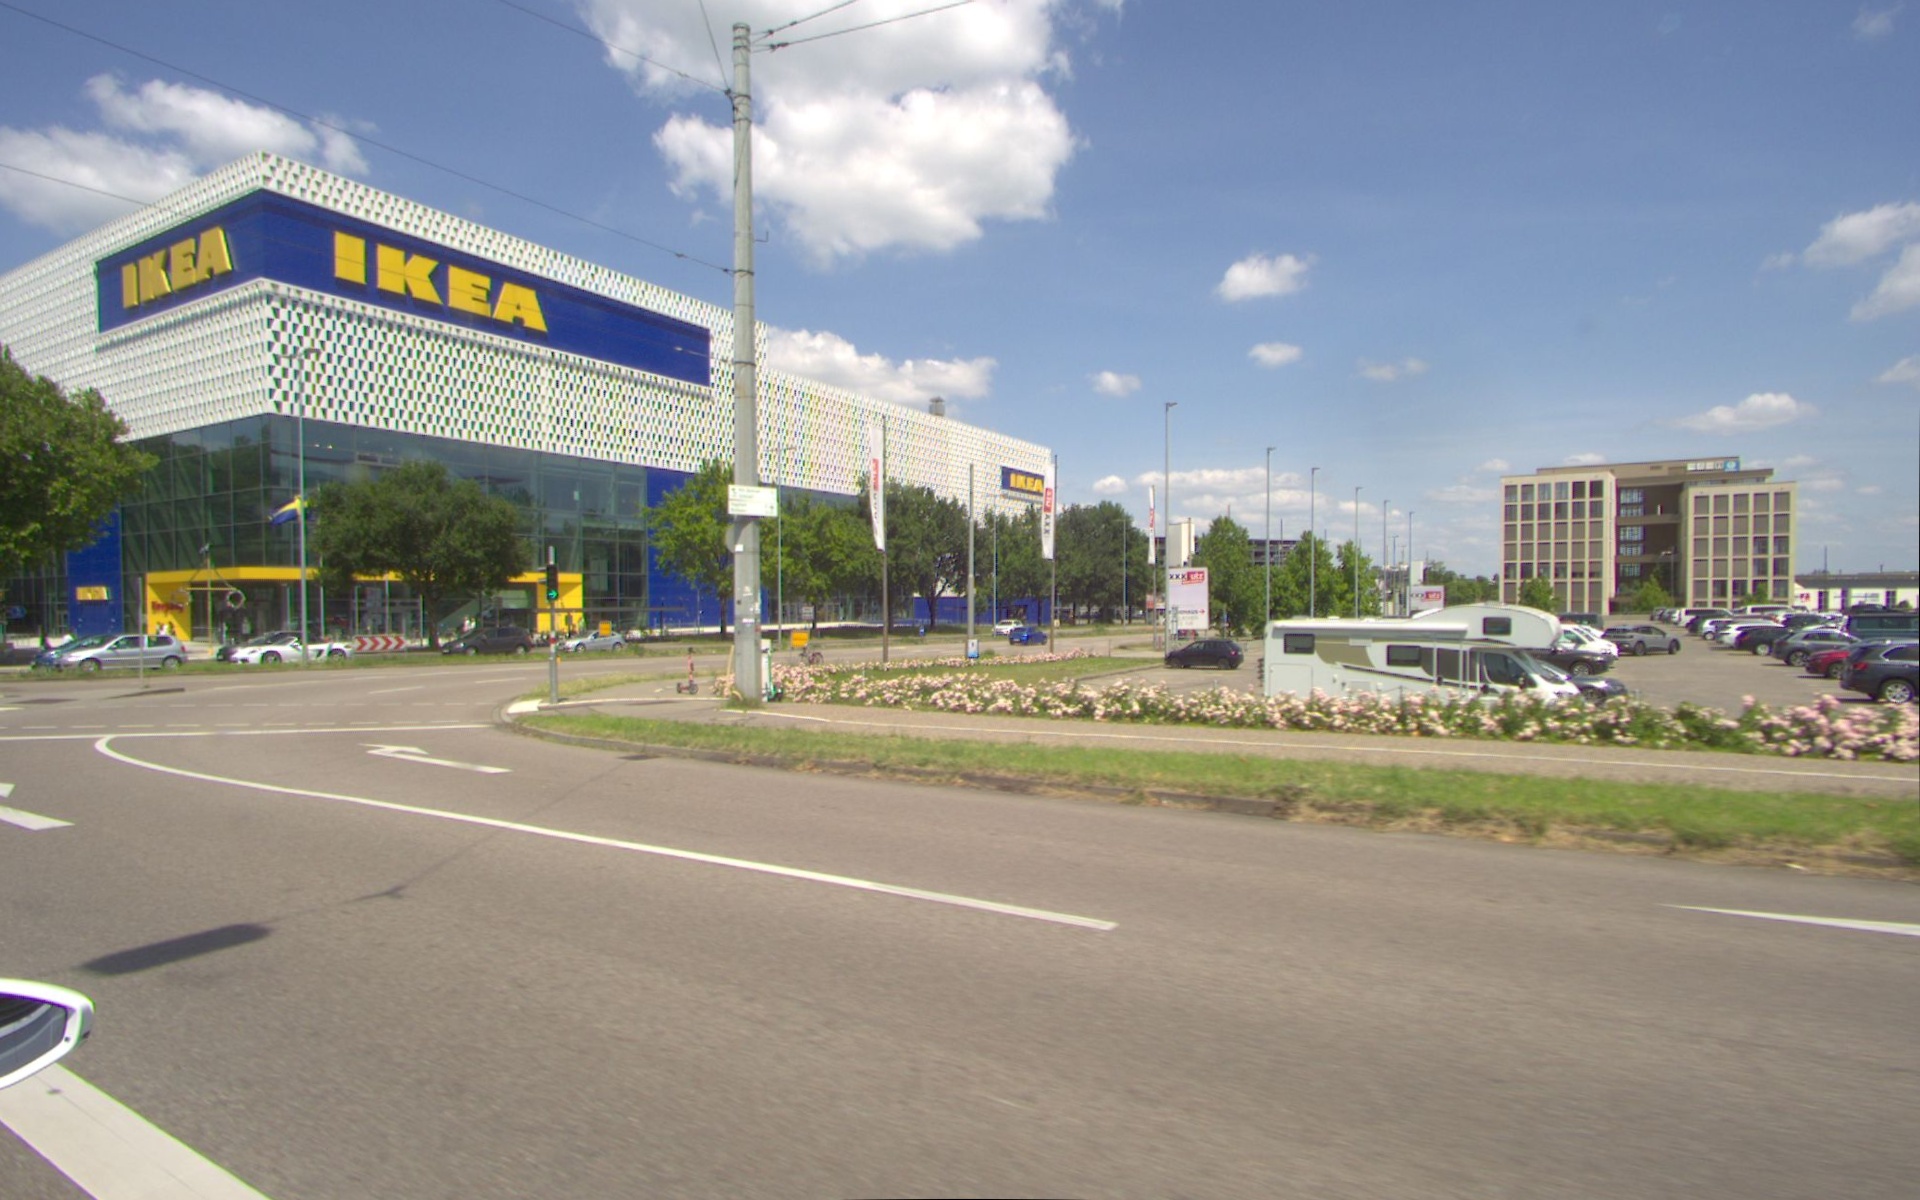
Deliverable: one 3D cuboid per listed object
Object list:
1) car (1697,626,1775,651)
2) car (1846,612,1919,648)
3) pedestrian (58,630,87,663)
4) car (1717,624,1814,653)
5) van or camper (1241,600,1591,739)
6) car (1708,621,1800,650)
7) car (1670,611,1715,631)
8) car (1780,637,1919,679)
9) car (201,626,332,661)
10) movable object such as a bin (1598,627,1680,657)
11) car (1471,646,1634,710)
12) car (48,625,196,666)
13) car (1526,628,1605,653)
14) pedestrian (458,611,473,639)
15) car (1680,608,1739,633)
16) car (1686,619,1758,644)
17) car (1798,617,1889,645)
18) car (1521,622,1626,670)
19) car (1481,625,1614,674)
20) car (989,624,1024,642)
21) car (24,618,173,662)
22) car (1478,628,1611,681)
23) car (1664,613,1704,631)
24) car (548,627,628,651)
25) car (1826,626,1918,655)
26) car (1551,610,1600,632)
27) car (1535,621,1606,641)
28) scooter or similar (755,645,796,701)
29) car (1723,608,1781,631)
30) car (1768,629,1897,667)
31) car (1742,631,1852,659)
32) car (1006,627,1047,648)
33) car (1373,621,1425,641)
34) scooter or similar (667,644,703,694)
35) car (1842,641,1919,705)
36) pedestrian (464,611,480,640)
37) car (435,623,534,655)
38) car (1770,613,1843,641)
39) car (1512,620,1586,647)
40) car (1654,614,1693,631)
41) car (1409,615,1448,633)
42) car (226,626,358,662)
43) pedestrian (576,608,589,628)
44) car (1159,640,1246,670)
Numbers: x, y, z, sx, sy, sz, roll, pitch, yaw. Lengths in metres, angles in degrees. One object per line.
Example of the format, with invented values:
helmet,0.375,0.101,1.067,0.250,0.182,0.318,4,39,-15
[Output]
car,51.657,2.518,66.709,3.944,1.622,1.686,-1,-2,33
car,46.473,1.475,48.952,4.457,1.756,1.989,-1,-2,34
pedestrian,-44.208,2.285,49.890,0.623,1.607,0.917,0,0,26
car,43.778,2.084,54.553,3.944,1.546,1.686,-1,-2,33
van or camper,11.080,1.613,24.740,7.511,2.983,2.702,-1,-2,35
car,44.972,2.002,56.817,3.944,1.622,1.686,-1,-2,33
car,69.155,1.992,94.545,3.335,1.828,1.693,-1,-1,35
car,32.613,2.069,36.341,4.198,1.430,1.850,-1,-2,34
car,-30.412,1.871,44.068,1.826,1.461,4.395,-1,-2,31
movable object such as a bin,36.112,2.201,53.237,3.934,1.529,1.711,1,-1,-22
car,17.102,2.199,29.006,3.943,1.639,1.990,-1,-2,32
car,-30.640,1.635,36.701,1.779,1.415,3.815,-1,-2,34
car,36.519,2.431,60.466,3.948,1.457,1.843,-1,-2,37
pedestrian,-36.059,1.849,73.066,0.725,2.040,0.792,0,0,44
car,64.246,1.788,85.946,3.947,2.039,1.988,-1,-2,35
car,55.771,2.302,73.363,4.116,1.724,1.843,-1,-2,36
car,56.090,1.955,63.663,4.114,1.724,1.844,-1,-2,35
car,27.799,2.068,45.400,3.946,2.039,1.989,-1,-2,34
car,25.675,2.138,43.856,4.898,2.039,1.989,-1,-2,35
car,4.521,3.147,96.508,1.968,1.661,4.069,-1,-2,26
car,-33.295,1.525,38.813,1.970,1.575,3.983,-1,-2,30
car,23.070,2.109,39.581,4.427,1.937,1.581,-1,-1,35
car,75.568,2.348,104.578,3.335,1.828,1.693,-1,-1,35
car,-22.824,2.375,61.553,1.837,1.416,4.390,-1,-2,34
car,52.591,2.308,57.841,3.677,1.622,1.686,-1,-2,33
car,58.811,2.006,95.731,3.946,2.040,1.988,-1,-1,34
car,43.117,2.192,70.773,4.199,1.430,1.849,-1,-2,36
scooter or similar,-3.936,1.558,21.303,0.473,1.139,1.274,0,-4,-29
car,72.854,1.826,92.210,3.943,2.039,1.990,-1,-1,32
car,36.995,2.001,42.576,3.946,1.545,1.641,-1,-2,35
car,41.301,2.182,49.526,3.944,1.327,1.686,-1,-2,33
car,5.269,2.944,79.092,1.736,1.632,3.530,-1,-1,33
car,39.655,2.794,90.472,3.949,1.705,1.987,-1,-1,37
scooter or similar,-7.448,1.844,27.092,0.475,1.307,1.269,1,-1,-39
car,27.634,2.010,27.787,4.439,1.739,1.990,-1,-2,32
pedestrian,-35.242,1.820,72.312,0.724,2.040,0.793,0,0,39
car,-24.797,2.029,52.344,1.837,1.604,4.390,-1,-2,34
car,63.617,2.052,75.316,3.943,2.039,1.990,-1,-1,32
car,39.281,2.234,66.838,4.115,1.724,1.843,0,0,36
car,76.323,2.444,107.197,3.335,1.828,1.693,-1,-1,35
car,54.604,2.800,116.724,3.945,2.040,1.989,-1,-1,34
car,-27.696,1.787,41.638,1.779,1.416,4.210,-1,-2,34
pedestrian,-30.413,1.474,80.661,0.571,1.607,0.766,0,0,26
car,12.082,2.713,49.951,3.888,1.394,1.845,-1,-1,33
